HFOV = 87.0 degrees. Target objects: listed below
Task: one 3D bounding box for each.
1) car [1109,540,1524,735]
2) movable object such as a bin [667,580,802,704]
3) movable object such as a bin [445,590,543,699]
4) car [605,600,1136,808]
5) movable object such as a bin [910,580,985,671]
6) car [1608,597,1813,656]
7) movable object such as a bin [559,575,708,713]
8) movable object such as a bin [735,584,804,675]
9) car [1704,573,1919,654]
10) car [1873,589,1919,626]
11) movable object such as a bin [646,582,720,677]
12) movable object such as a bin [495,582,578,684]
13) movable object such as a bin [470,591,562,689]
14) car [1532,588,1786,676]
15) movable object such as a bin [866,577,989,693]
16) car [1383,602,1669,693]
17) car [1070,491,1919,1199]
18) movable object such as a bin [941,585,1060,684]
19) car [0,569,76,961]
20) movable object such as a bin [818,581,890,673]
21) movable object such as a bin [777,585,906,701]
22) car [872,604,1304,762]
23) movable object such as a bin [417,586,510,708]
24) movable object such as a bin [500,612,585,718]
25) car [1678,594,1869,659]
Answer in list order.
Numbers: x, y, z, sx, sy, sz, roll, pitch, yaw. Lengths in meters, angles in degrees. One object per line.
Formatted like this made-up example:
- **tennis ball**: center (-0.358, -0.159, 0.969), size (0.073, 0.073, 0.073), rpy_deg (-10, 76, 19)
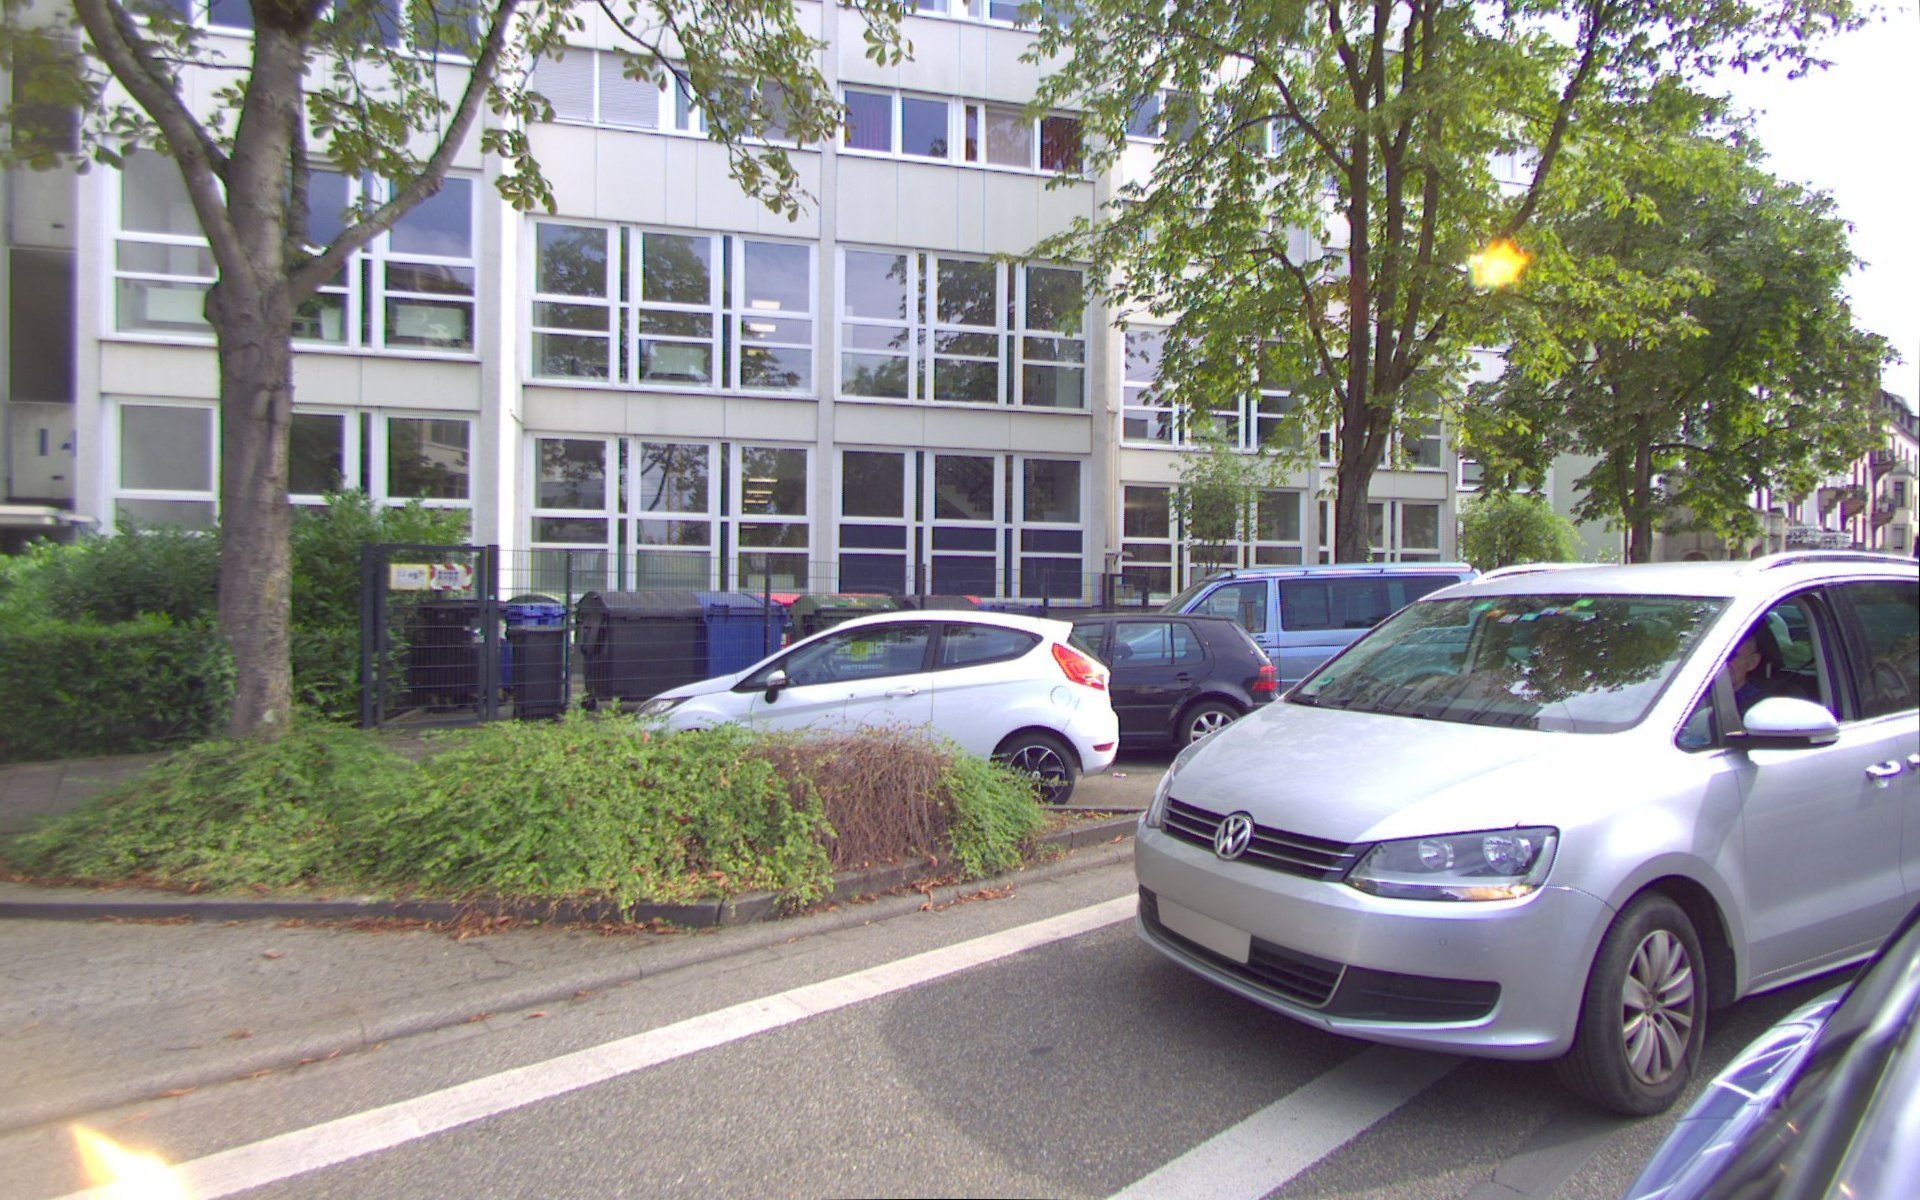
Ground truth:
- **car**: center (4.012, 0.388, 12.065), size (4.269, 2.090, 1.997), rpy_deg (0, 0, 5)
- **movable object such as a bin**: center (-2.983, 0.508, 13.334), size (1.312, 1.523, 1.335), rpy_deg (0, 0, -36)
- **movable object such as a bin**: center (-6.309, 0.572, 13.764), size (1.095, 1.409, 1.065), rpy_deg (0, 0, -19)
- **car**: center (-0.619, 0.721, 7.970), size (3.793, 1.410, 1.632), rpy_deg (0, 0, 4)
- **movable object such as a bin**: center (-0.239, 0.445, 18.337), size (1.150, 1.588, 1.182), rpy_deg (0, 0, -11)
- **car**: center (18.143, 0.607, 24.597), size (3.580, 1.347, 1.766), rpy_deg (0, 1, 5)
- **movable object such as a bin**: center (-3.978, 0.485, 12.312), size (1.389, 1.549, 1.330), rpy_deg (0, 0, -36)
- **movable object such as a bin**: center (-3.329, 0.488, 17.652), size (1.150, 1.533, 1.182), rpy_deg (0, 0, -11)
- **car**: center (24.704, 0.342, 28.736), size (5.349, 2.203, 2.143), rpy_deg (0, 0, 9)
- **car**: center (45.586, 0.351, 47.546), size (3.606, 1.697, 1.753), rpy_deg (0, 1, 24)
- **movable object such as a bin**: center (-4.763, 0.484, 17.515), size (1.150, 1.588, 1.182), rpy_deg (0, 0, -11)
- **movable object such as a bin**: center (-6.850, 0.507, 16.428), size (1.155, 1.588, 1.177), rpy_deg (0, 0, -19)
- **movable object such as a bin**: center (-6.582, 0.566, 15.076), size (1.155, 1.387, 1.177), rpy_deg (0, 0, -19)
- **car**: center (13.741, 0.594, 20.116), size (3.708, 1.638, 1.810), rpy_deg (0, 0, 9)
- **movable object such as a bin**: center (-0.495, 0.483, 15.058), size (1.328, 1.616, 1.335), rpy_deg (0, 0, -36)
- **car**: center (8.969, 0.711, 16.296), size (3.580, 1.347, 1.766), rpy_deg (0, 1, 5)
- **car**: center (2.860, 0.597, 4.296), size (4.523, 1.722, 1.820), rpy_deg (0, 0, -28)
- **movable object such as a bin**: center (0.636, 0.512, 16.089), size (1.374, 1.477, 1.335), rpy_deg (0, 0, -36)
- **car**: center (-5.838, 0.662, 3.723), size (3.980, 1.557, 1.594), rpy_deg (0, 0, 5)
- **movable object such as a bin**: center (-1.909, 0.460, 18.042), size (1.150, 1.588, 1.182), rpy_deg (0, 0, -11)
- **movable object such as a bin**: center (-1.672, 0.561, 14.208), size (1.328, 1.521, 1.335), rpy_deg (0, 0, -36)
- **car**: center (1.197, 0.761, 10.140), size (3.902, 1.405, 1.812), rpy_deg (0, -1, 5)
- **movable object such as a bin**: center (-6.079, 0.551, 12.448), size (0.893, 1.425, 1.026), rpy_deg (0, 0, -19)
- **movable object such as a bin**: center (-4.678, 0.702, 11.329), size (0.729, 1.119, 0.786), rpy_deg (0, 0, -34)
- **car**: center (21.498, 0.661, 26.918), size (3.606, 1.609, 1.753), rpy_deg (0, 1, 24)
